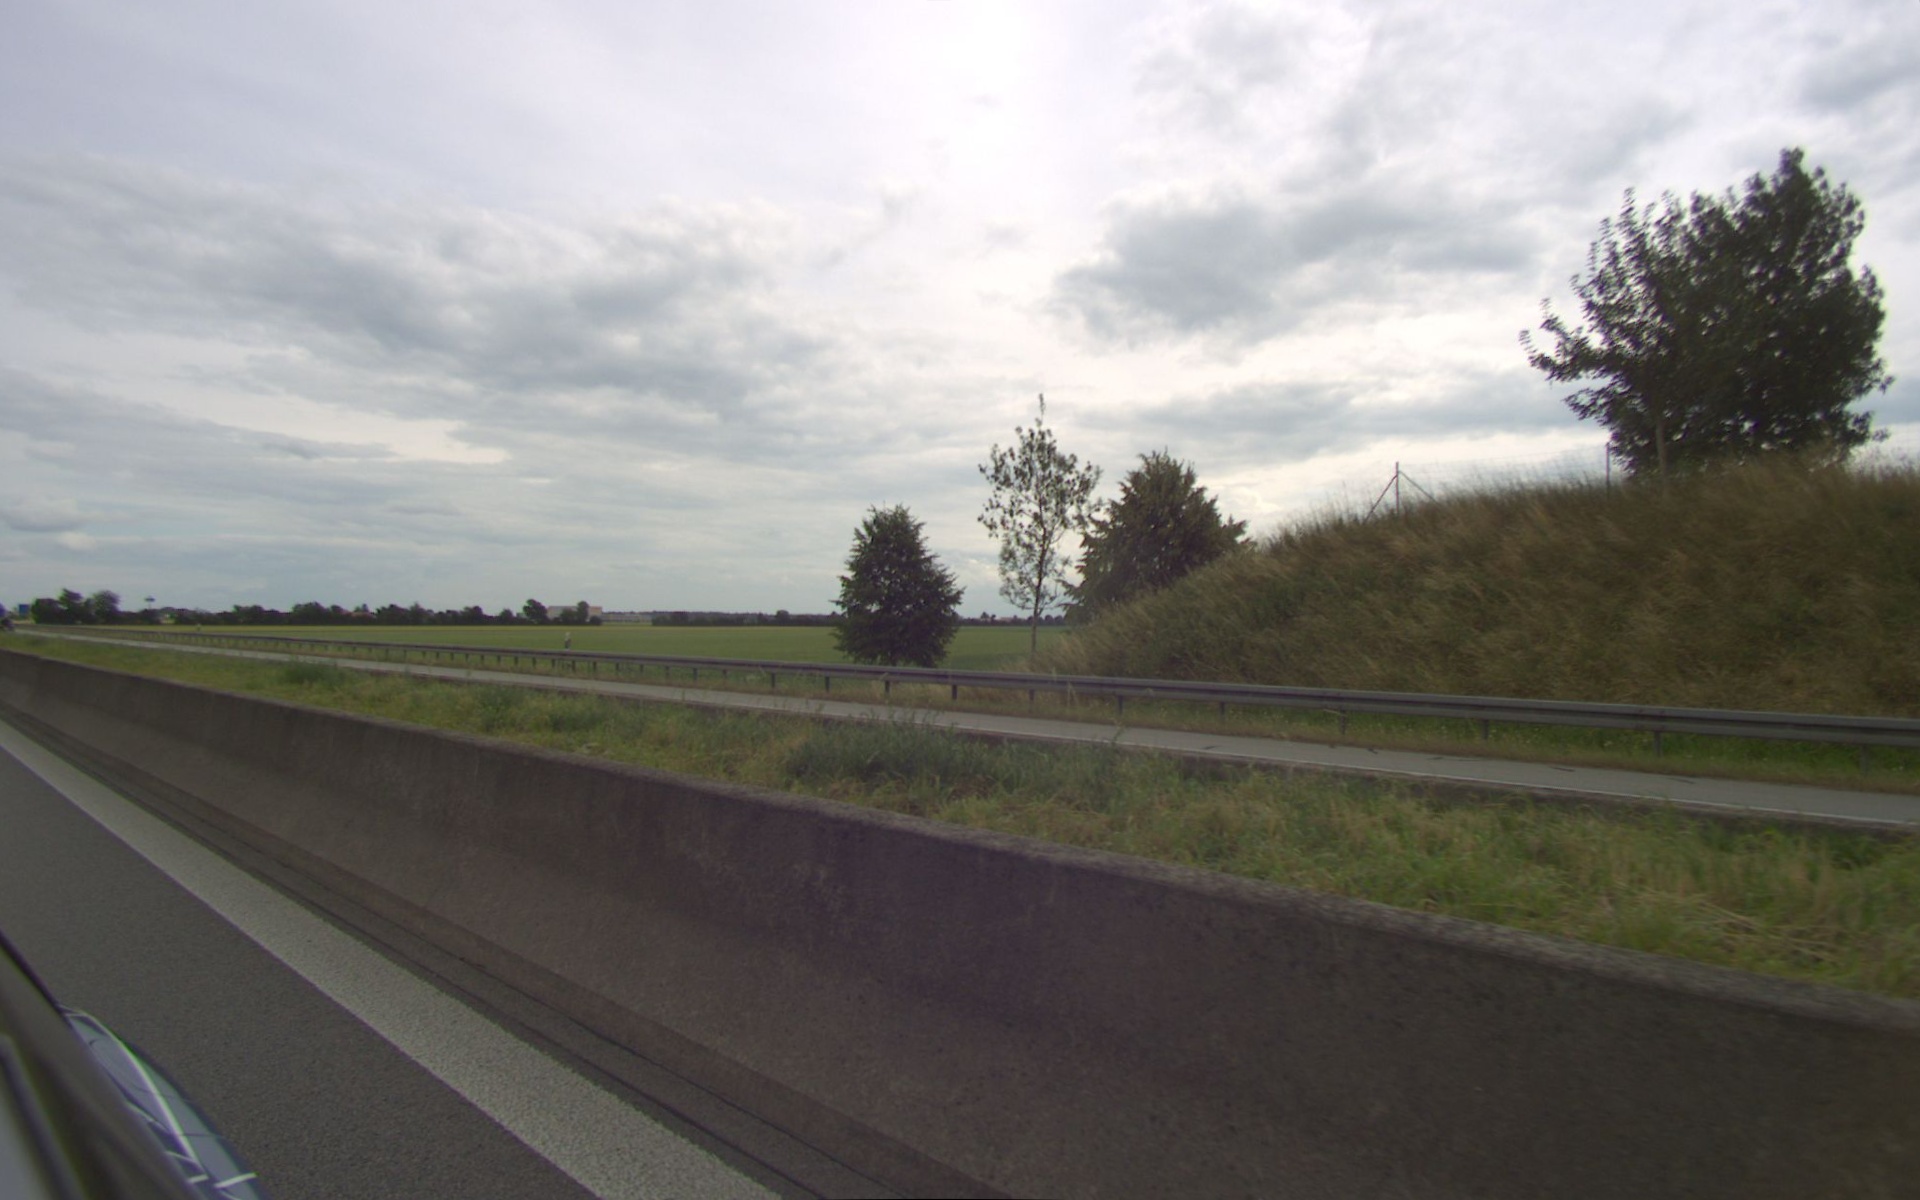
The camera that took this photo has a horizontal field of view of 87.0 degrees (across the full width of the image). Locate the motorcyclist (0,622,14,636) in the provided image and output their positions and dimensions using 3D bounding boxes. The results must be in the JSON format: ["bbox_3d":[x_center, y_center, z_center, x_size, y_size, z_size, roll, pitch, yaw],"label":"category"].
[{"bbox_3d":[-94.503,2.835,99.803,1.252,1.382,1.550,-1,-3,42],"label":"motorcyclist"}]

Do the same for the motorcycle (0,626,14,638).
[{"bbox_3d":[-94.524,3.143,99.800,2.981,1.086,1.550,-1,-3,42],"label":"motorcycle"}]
